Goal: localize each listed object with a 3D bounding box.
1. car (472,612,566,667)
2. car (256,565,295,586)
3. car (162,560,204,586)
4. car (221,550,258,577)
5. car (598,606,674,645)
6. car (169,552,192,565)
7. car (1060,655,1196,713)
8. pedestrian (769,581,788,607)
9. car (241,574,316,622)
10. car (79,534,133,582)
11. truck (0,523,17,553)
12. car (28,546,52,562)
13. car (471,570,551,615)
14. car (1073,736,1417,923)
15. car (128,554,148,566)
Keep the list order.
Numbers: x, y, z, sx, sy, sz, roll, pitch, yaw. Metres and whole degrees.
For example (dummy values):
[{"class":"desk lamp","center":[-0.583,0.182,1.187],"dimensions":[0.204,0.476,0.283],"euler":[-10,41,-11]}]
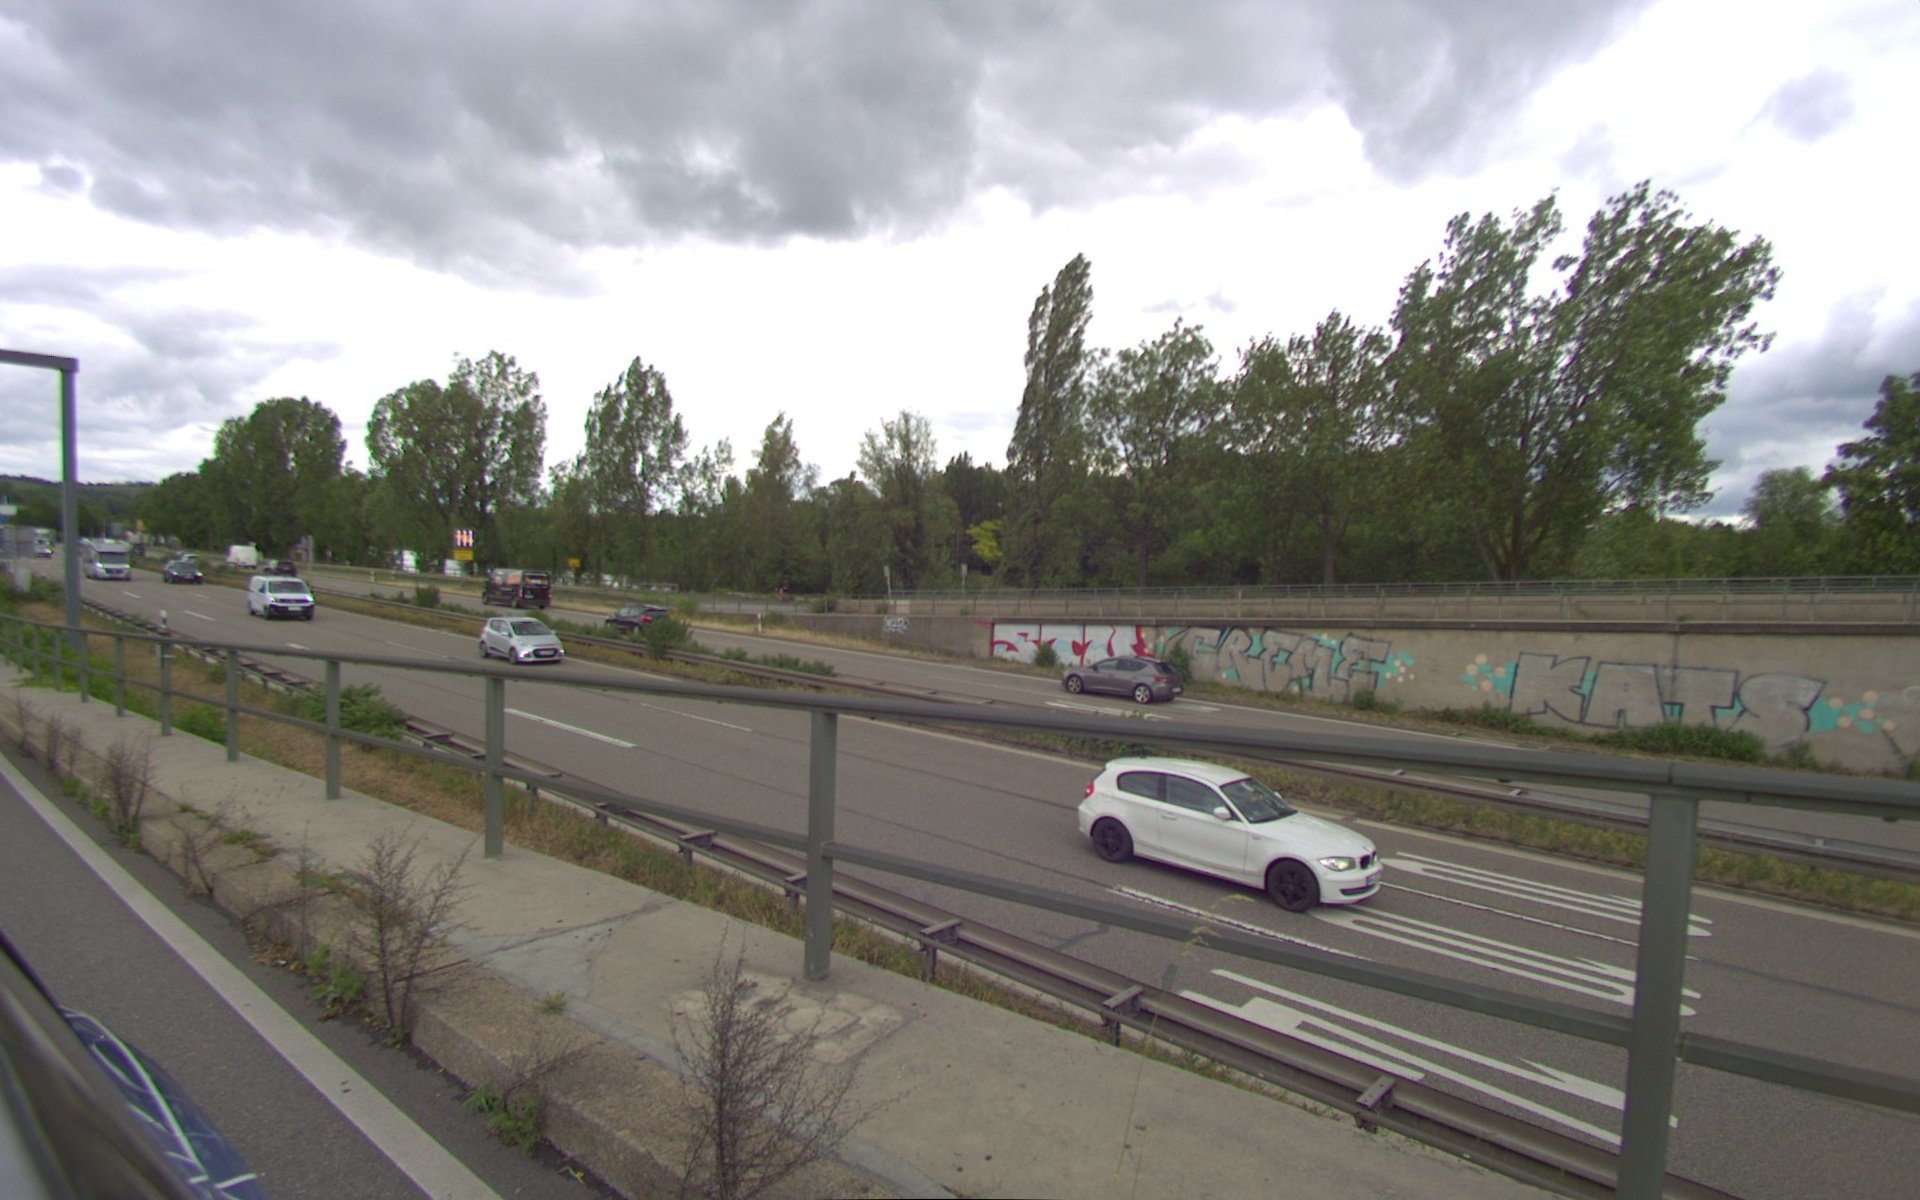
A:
[{"class":"car","center":[-15.393,1.318,35.234],"dimensions":[3.681,1.564,1.540],"euler":[4,3,41]},{"class":"car","center":[-61.202,-2.170,90.441],"dimensions":[4.332,1.662,1.878],"euler":[4,2,41]},{"class":"car","center":[-57.275,-2.015,74.566],"dimensions":[4.281,1.726,1.820],"euler":[4,2,44]},{"class":"car","center":[-82.217,-4.140,115.423],"dimensions":[5.360,2.800,2.187],"euler":[5,2,41]},{"class":"car","center":[-15.375,1.187,48.001],"dimensions":[3.857,1.512,1.646],"euler":[4,2,41]},{"class":"car","center":[-110.924,-5.950,143.910],"dimensions":[3.931,1.662,1.879],"euler":[4,3,41]},{"class":"car","center":[5.485,2.721,33.326],"dimensions":[4.109,1.386,1.693],"euler":[4,2,41]},{"class":"pedestrian","center":[-12.747,-0.431,71.054],"dimensions":[1.077,1.717,0.821],"euler":[4,4,41]},{"class":"car","center":[-32.307,-0.141,47.921],"dimensions":[4.899,1.949,1.928],"euler":[5,4,44]},{"class":"car","center":[-63.665,-3.145,75.390],"dimensions":[7.665,3.264,2.335],"euler":[5,3,44]},{"class":"truck","center":[-143.997,-9.372,151.906],"dimensions":[6.695,4.283,2.723],"euler":[4,2,41]},{"class":"car","center":[-115.627,-5.775,127.209],"dimensions":[4.278,1.813,1.821],"euler":[0,0,41]},{"class":"car","center":[-28.734,-0.528,64.656],"dimensions":[6.111,2.565,2.221],"euler":[4,2,40]},{"class":"car","center":[3.773,2.954,13.854],"dimensions":[4.164,1.462,1.724],"euler":[4,2,41]},{"class":"car","center":[-129.456,-6.285,159.319],"dimensions":[3.931,1.662,1.879],"euler":[3,2,41]}]
